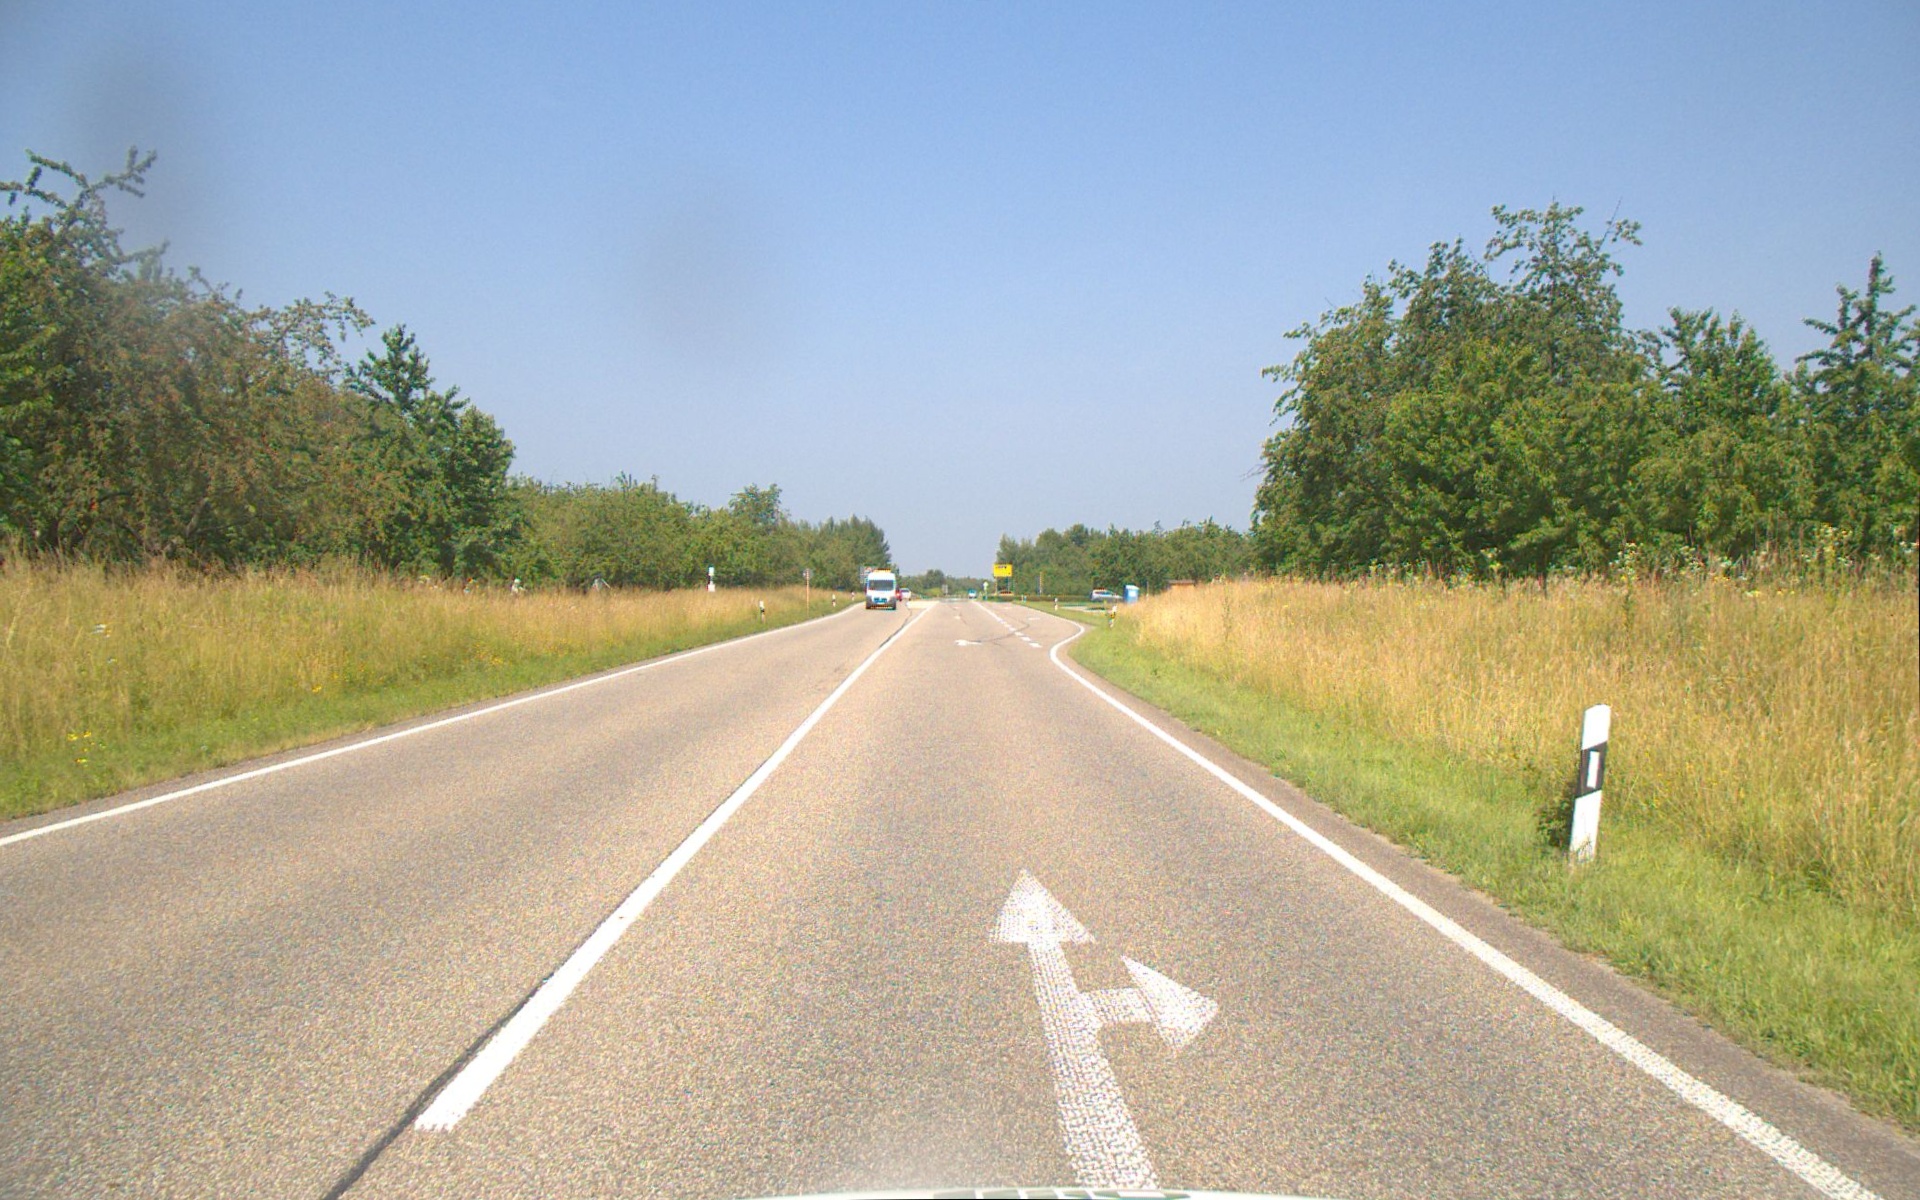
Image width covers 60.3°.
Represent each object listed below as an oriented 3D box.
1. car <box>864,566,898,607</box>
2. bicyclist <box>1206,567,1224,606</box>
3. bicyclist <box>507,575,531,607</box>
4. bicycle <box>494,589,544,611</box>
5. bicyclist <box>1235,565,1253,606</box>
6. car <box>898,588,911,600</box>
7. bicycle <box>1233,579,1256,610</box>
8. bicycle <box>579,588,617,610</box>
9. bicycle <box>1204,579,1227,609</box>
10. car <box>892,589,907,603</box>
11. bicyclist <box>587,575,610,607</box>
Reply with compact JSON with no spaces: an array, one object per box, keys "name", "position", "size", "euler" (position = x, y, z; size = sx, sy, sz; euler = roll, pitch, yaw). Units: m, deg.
[{"name":"car","position":[-5.367,-0.909,113.225],"size":[2.117,2.715,6.141],"euler":[1,0,-2]},{"name":"bicyclist","position":[12.454,-0.652,80.790],"size":[0.734,1.899,0.869],"euler":[-1,0,-1]},{"name":"bicyclist","position":[-20.819,-0.406,78.105],"size":[0.842,1.480,0.743],"euler":[1,-1,12]},{"name":"bicycle","position":[-20.823,-0.019,78.101],"size":[2.170,1.006,0.743],"euler":[1,-1,12]},{"name":"bicyclist","position":[13.836,-0.702,80.552],"size":[0.734,1.963,0.827],"euler":[-1,0,-1]},{"name":"car","position":[-7.158,-0.828,214.540],"size":[1.641,1.520,4.135],"euler":[1,0,-2]},{"name":"bicycle","position":[13.839,-0.269,80.542],"size":[0.734,1.443,2.221],"euler":[-1,0,0]},{"name":"bicycle","position":[-16.606,-0.040,75.887],"size":[1.918,1.006,0.647],"euler":[0,-1,39]},{"name":"bicycle","position":[12.456,-0.285,80.771],"size":[0.734,1.443,2.221],"euler":[-1,0,0]},{"name":"car","position":[-6.737,-0.471,183.236],"size":[1.592,1.482,3.620],"euler":[1,0,-2]},{"name":"bicyclist","position":[-16.590,-0.426,75.887],"size":[0.847,1.439,0.640],"euler":[0,-1,39]}]
